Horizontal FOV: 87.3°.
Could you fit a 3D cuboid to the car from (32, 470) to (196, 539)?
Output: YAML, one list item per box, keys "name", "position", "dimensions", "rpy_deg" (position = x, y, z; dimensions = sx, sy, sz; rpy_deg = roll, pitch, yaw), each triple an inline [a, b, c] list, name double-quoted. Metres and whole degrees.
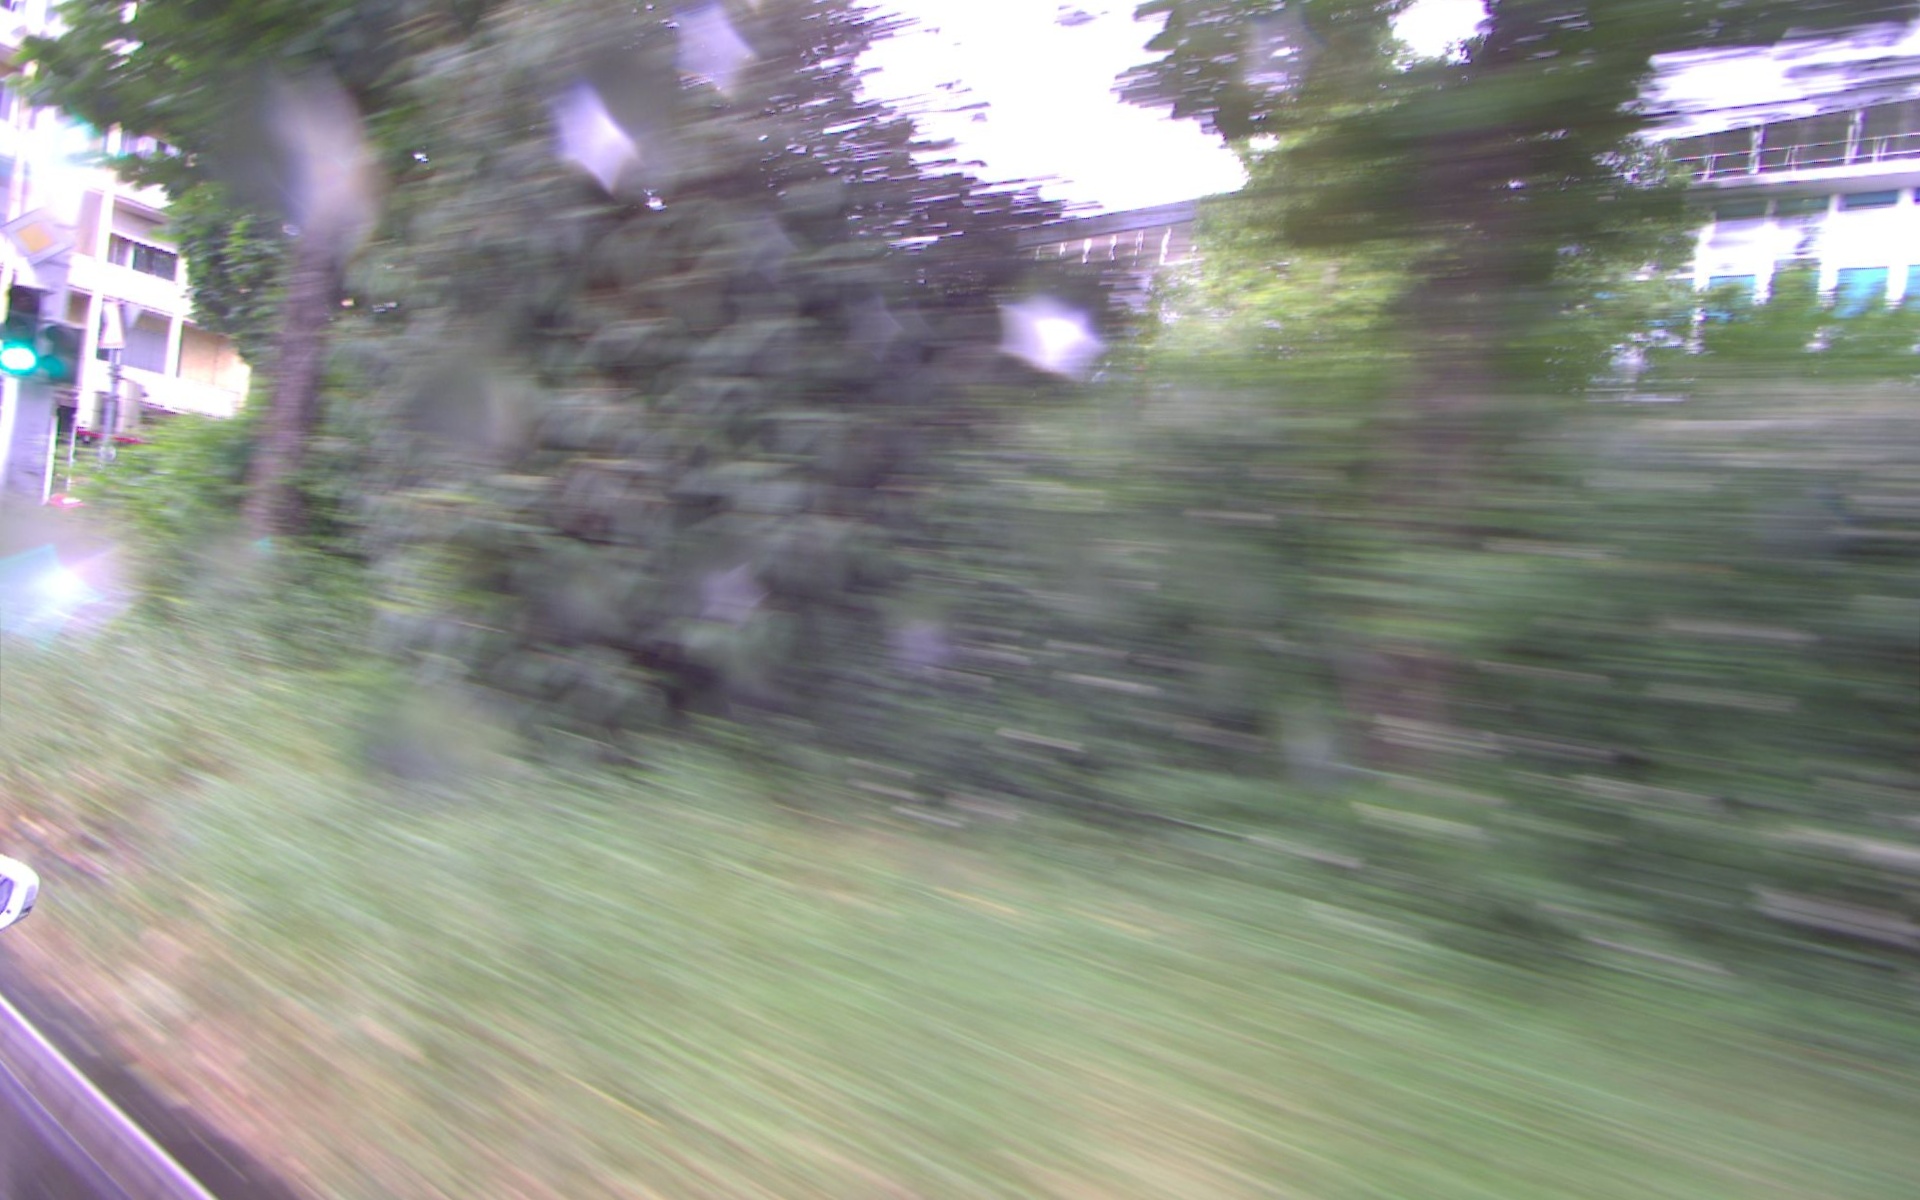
- name: "car"
  position: [-25.584, -2.864, 30.527]
  dimensions: [1.447, 1.577, 3.474]
  rpy_deg: [8, 2, 30]
